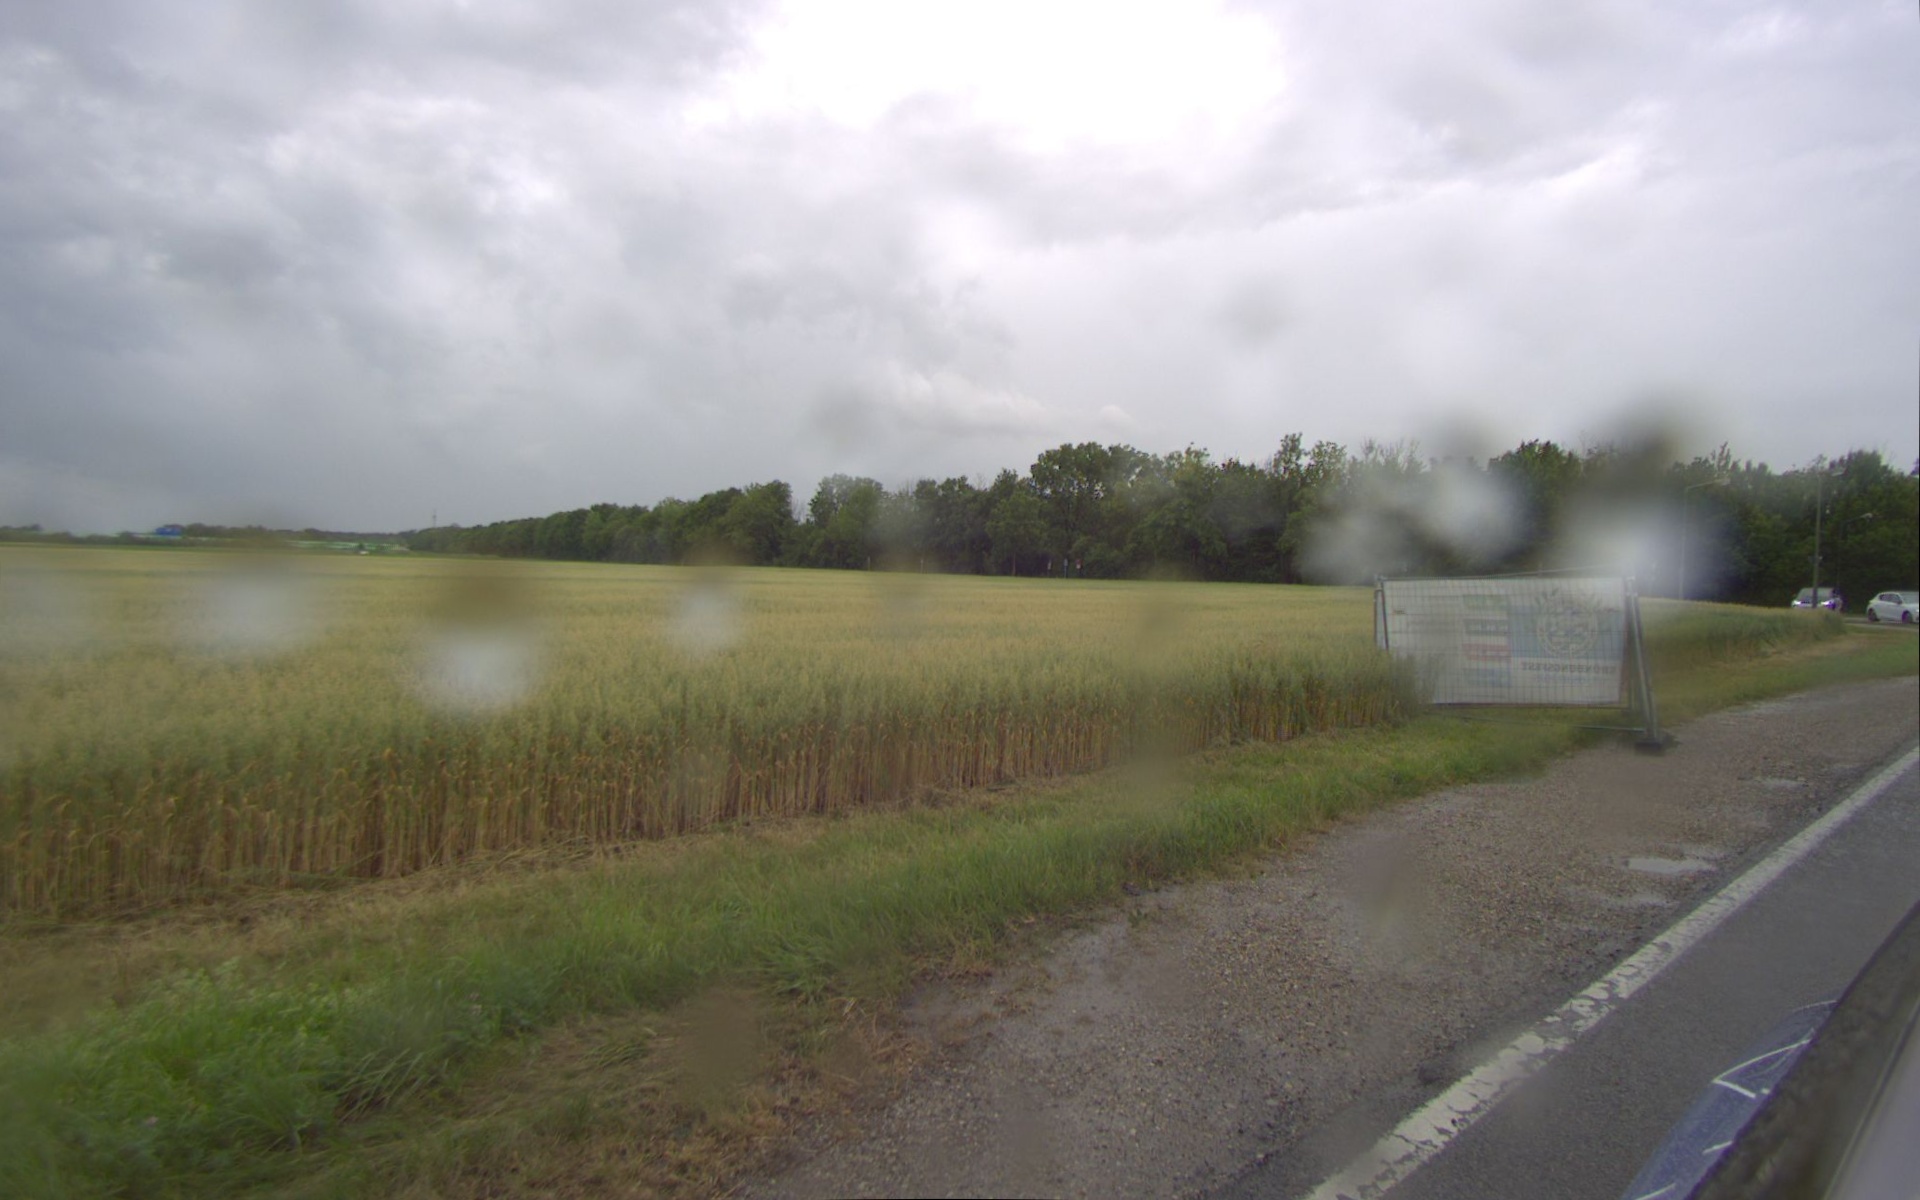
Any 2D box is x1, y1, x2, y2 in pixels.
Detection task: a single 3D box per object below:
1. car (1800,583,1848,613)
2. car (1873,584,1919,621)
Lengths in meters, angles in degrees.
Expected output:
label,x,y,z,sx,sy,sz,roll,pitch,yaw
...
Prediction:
label,x,y,z,sx,sy,sz,roll,pitch,yaw
car,46.620,-0.107,54.680,1.884,1.550,4.437,1,1,40
car,41.470,0.105,43.319,1.868,1.550,4.475,1,1,18
